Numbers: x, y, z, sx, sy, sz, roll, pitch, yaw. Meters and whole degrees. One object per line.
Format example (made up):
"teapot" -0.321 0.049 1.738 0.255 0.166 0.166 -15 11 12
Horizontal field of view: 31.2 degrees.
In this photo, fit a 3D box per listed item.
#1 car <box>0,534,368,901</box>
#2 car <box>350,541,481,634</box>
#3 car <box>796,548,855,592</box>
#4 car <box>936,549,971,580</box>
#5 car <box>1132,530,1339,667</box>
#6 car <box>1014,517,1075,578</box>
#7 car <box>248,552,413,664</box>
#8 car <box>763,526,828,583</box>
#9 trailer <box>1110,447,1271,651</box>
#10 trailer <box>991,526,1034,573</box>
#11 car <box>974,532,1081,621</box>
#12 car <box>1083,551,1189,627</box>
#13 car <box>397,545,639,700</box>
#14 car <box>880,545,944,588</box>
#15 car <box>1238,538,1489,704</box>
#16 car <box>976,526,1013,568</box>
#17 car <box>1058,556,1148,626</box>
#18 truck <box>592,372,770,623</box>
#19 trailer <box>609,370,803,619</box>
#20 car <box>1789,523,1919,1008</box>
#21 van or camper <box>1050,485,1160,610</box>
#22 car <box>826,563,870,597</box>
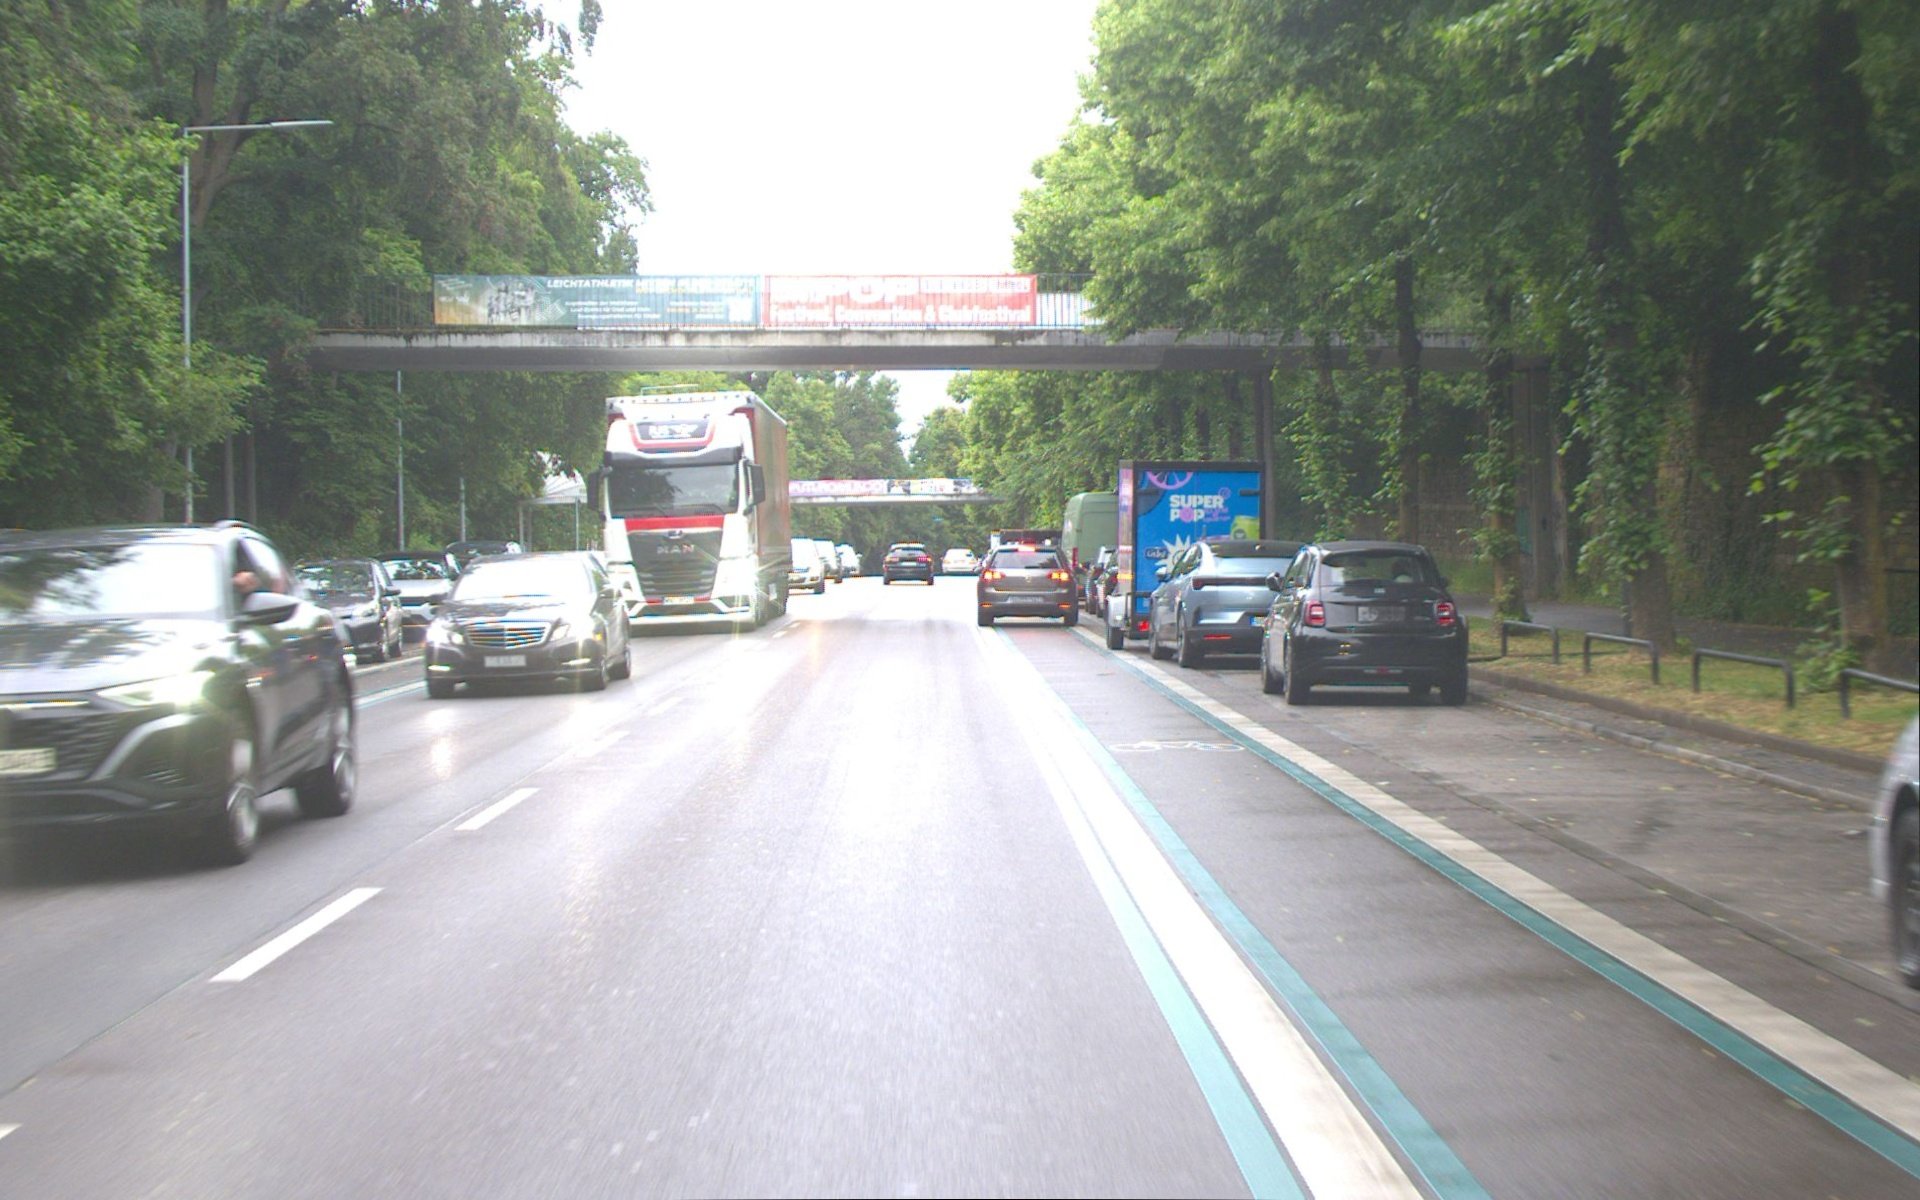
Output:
"car" -4.367 0.494 17.496 1.961 1.611 4.466 -1 1 -1
"car" -9.480 -0.245 60.097 1.687 1.541 4.233 -1 1 -1
"car" -5.148 -1.160 132.053 1.966 1.622 4.321 -1 1 2
"car" -0.328 -1.871 179.352 1.731 1.578 4.037 -1 1 -1
"car" 3.335 -0.064 42.480 1.899 1.542 4.756 1 1 -3
"car" 2.889 -1.828 118.945 1.926 2.015 4.664 1 1 0
"car" -8.998 0.076 49.410 1.831 1.472 4.041 -1 1 -3
"car" -4.921 -1.379 103.402 1.834 1.661 4.181 0 1 -1
"trailer" 3.198 -0.724 48.426 1.952 2.749 4.007 0 1 -1
"trailer" 2.464 -2.362 162.120 1.884 2.158 3.808 -1 1 0
"car" 1.179 -0.443 61.418 1.818 1.503 4.139 -1 1 0
"car" 3.371 -0.236 66.436 1.686 1.411 4.197 0 1 -2
"car" -4.636 0.190 36.724 1.915 1.451 4.621 -2 1 0
"car" -1.710 -1.198 122.003 2.140 1.487 4.499 0 1 -3
"car" 3.851 0.148 33.538 1.825 1.498 4.571 0 1 -1
"car" 1.791 -2.757 178.847 1.889 2.120 4.045 -1 1 1
"car" 2.977 -0.212 72.300 1.686 1.411 4.100 0 1 0
"truck" -4.726 -1.731 59.123 2.517 4.032 4.917 -3 1 0
"trailer" -4.763 -1.973 66.858 2.687 4.244 12.770 -3 1 0
"car" 4.047 0.567 10.572 1.753 1.591 4.740 1 1 -1
"van or camper" 3.297 -1.227 79.355 2.042 2.720 6.901 1 1 -1
"car" -5.213 -0.947 160.173 1.921 1.555 4.621 1 1 0
